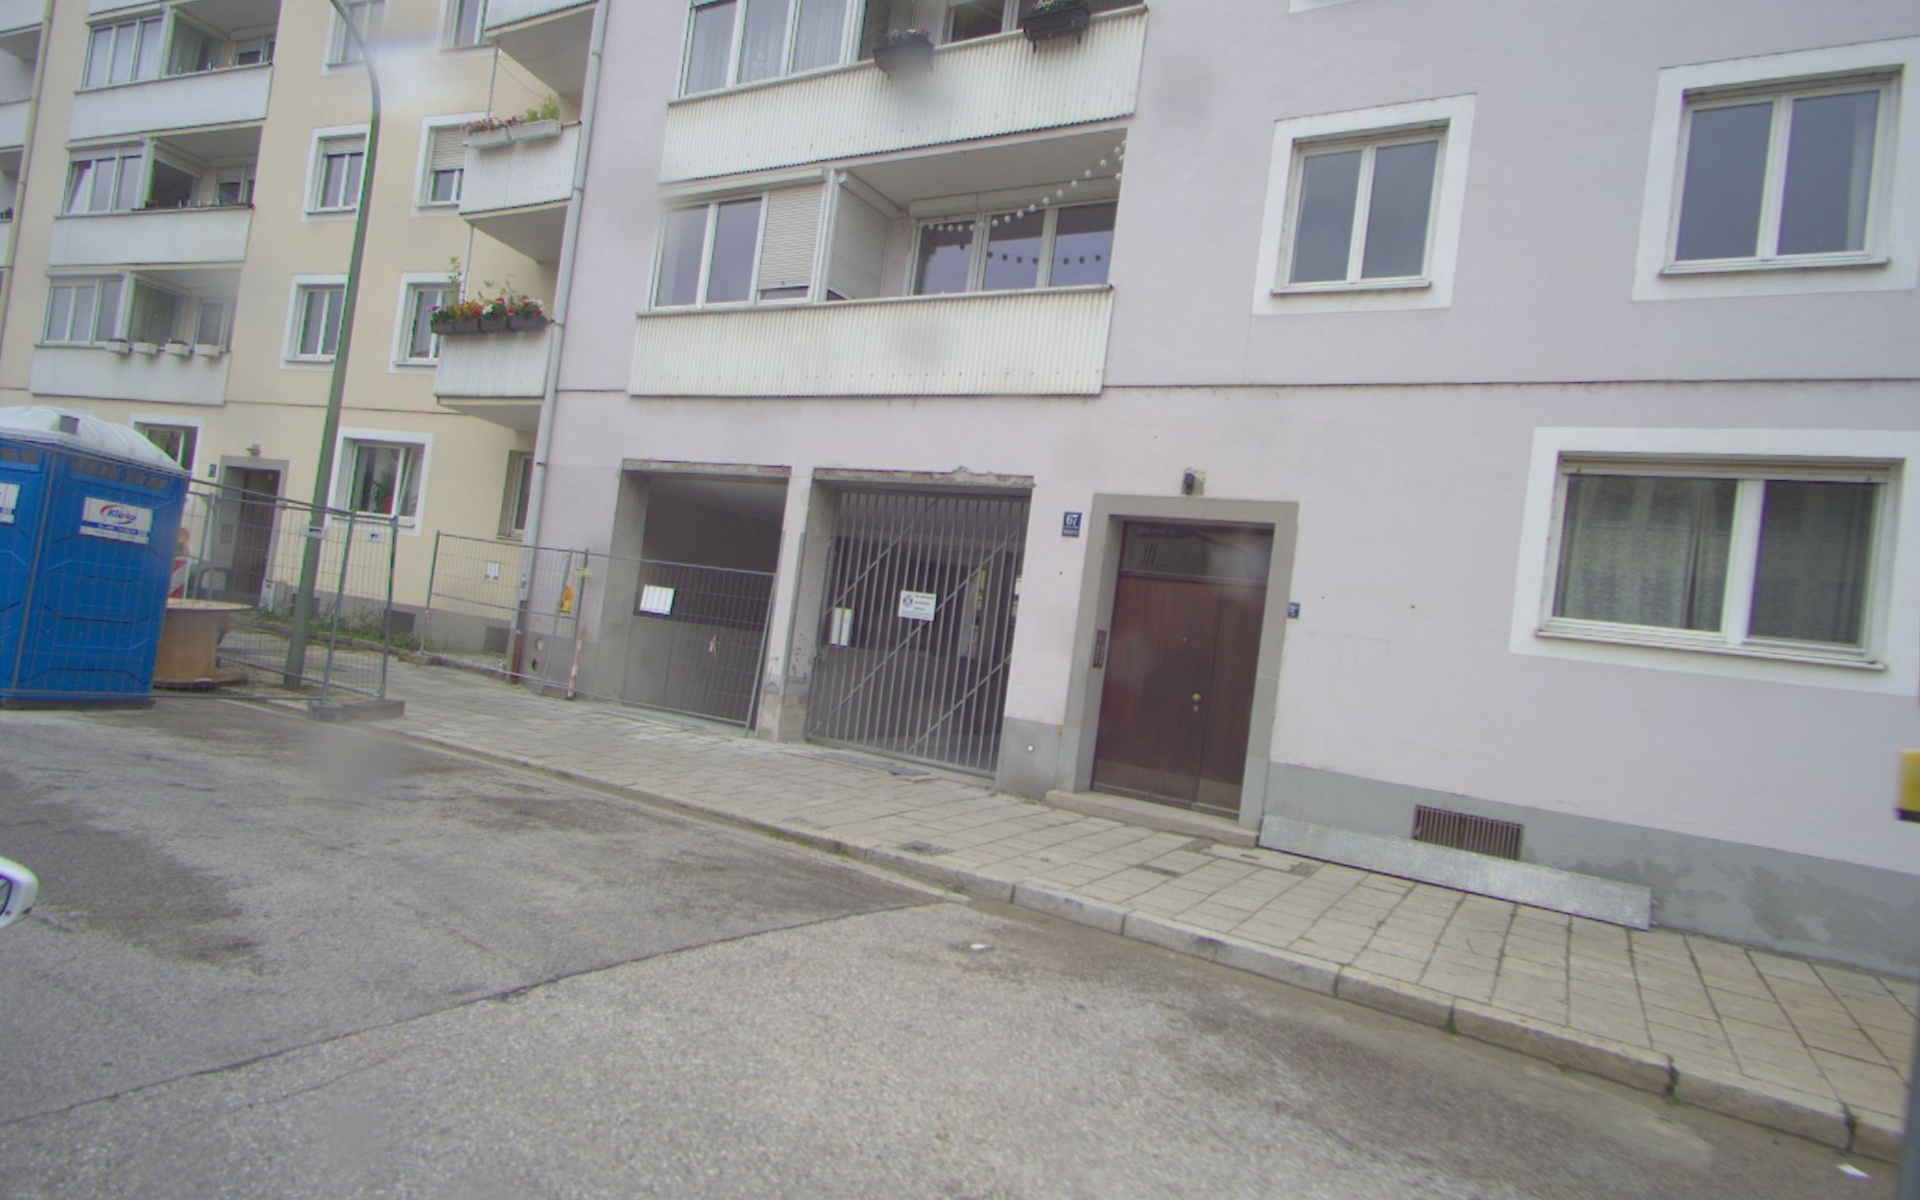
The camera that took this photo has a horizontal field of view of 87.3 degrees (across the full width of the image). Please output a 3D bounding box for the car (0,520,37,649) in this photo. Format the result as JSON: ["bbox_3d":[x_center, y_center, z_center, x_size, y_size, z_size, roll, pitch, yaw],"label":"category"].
[{"bbox_3d":[-13.275,-0.533,11.633,4.543,1.457,1.840,7,-4,21],"label":"car"}]
